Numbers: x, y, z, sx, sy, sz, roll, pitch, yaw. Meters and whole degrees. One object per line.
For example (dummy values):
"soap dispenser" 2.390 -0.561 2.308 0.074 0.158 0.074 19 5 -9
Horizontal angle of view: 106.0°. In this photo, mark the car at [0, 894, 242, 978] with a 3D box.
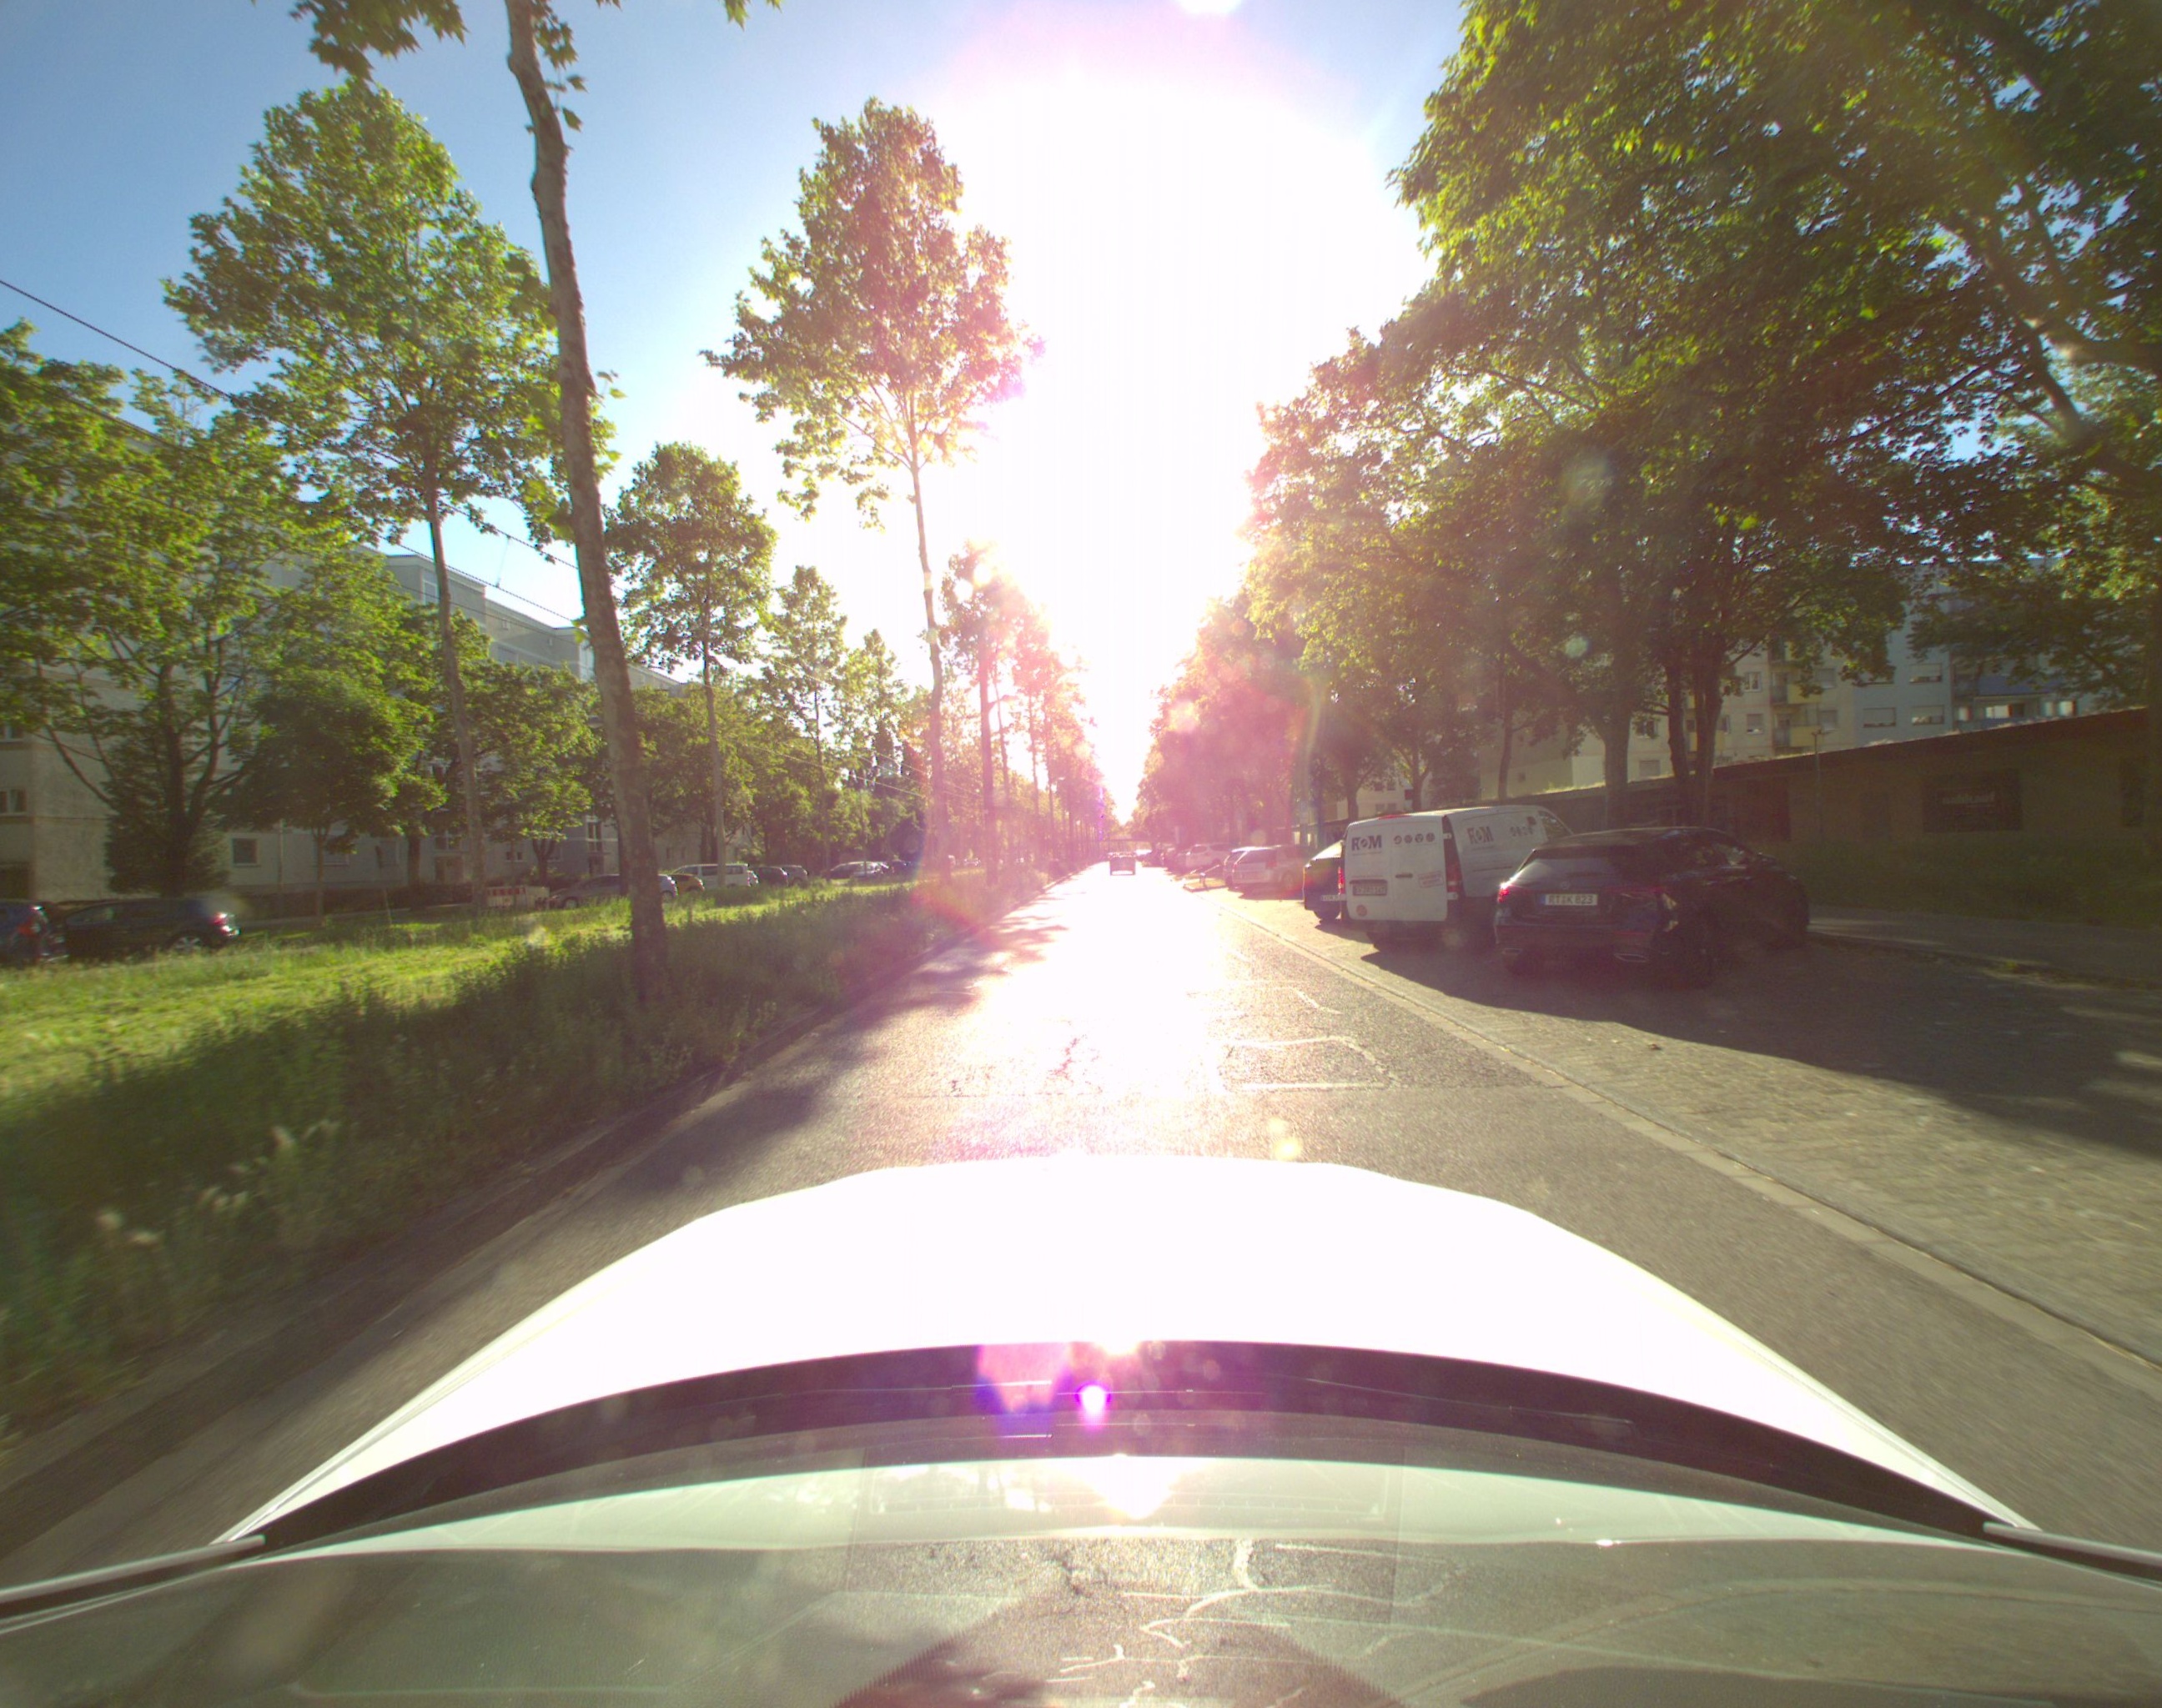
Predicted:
"car" -23.456 1.928 19.841 1.631 1.475 4.109 3 5 45

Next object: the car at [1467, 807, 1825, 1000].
"car" 6.104 0.378 8.665 4.016 1.429 1.780 -5 1 -35

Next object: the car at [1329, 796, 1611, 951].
"car" 5.940 0.175 12.174 4.694 1.853 1.810 -4 0 -38

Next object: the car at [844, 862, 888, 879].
"car" -22.137 1.706 83.992 3.942 1.487 1.774 -3 0 -41

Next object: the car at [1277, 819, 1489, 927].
"car" 6.007 0.295 15.917 4.526 1.705 1.740 -4 0 -39

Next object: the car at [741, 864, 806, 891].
"car" -21.710 1.621 57.724 4.080 1.607 1.985 -3 1 -16

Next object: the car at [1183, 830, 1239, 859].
"car" 9.566 -0.720 59.772 4.105 1.810 1.632 -4 0 -38

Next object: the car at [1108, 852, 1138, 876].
"car" 2.787 0.639 54.608 1.915 1.411 4.002 -2 0 2

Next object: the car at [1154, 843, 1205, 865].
"car" 8.394 0.001 69.493 4.101 1.582 1.763 -4 0 -33

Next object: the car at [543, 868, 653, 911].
"car" -22.201 1.616 37.495 4.106 1.646 1.632 -3 -1 -40

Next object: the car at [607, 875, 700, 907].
"car" -22.901 1.954 43.678 4.107 1.432 1.560 -3 0 -41

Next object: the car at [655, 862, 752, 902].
"car" -22.108 1.601 47.788 4.820 2.006 1.871 -3 1 -36

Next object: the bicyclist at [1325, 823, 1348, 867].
"bicyclist" 10.392 -0.383 33.105 0.620 1.740 1.025 -3 1 6

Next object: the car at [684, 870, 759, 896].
"car" -22.279 1.782 50.540 4.099 1.432 1.563 -1 0 -32

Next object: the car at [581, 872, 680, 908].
"car" -22.669 1.781 41.068 4.106 1.483 1.632 -3 0 -40

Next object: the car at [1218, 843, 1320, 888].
"car" 6.901 0.398 29.699 3.961 1.373 1.568 -4 0 -41

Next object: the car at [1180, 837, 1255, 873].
"car" 7.540 0.025 44.771 4.049 1.705 1.740 -4 0 -39

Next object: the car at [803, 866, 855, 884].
"car" -22.626 1.839 73.191 4.154 1.337 1.774 -3 1 -41

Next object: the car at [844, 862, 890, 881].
"car" -21.309 1.741 81.147 4.000 1.675 1.766 -3 0 -41

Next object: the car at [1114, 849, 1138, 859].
"car" 8.942 -0.058 161.623 4.649 1.768 1.835 -2 0 -40

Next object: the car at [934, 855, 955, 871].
"car" -18.430 1.239 110.339 1.638 2.093 4.920 0 0 4

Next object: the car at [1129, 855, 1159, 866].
"car" 9.506 1.014 122.479 4.651 1.459 1.955 -3 0 -44

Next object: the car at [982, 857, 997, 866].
"car" -16.780 1.437 149.082 1.985 1.590 4.172 0 0 4

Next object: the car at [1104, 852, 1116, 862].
"car" 4.998 0.515 138.943 1.842 1.535 3.869 -3 0 3

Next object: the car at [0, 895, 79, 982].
"car" -23.498 1.841 16.290 4.109 1.645 1.631 -4 3 -44

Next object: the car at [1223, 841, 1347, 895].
"car" 6.608 0.416 26.137 4.208 1.412 1.700 -4 0 -41

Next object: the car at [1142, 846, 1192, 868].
"car" 7.612 0.261 71.872 4.341 1.717 1.617 -3 0 -37

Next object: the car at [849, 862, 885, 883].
"car" -16.825 1.423 64.181 1.640 1.485 3.851 -3 -1 2

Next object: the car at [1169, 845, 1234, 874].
"car" 7.118 0.314 47.835 3.808 1.470 1.631 -4 0 -41

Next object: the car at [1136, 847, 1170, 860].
"car" 9.157 -0.091 103.414 4.353 1.424 1.834 -4 0 -42

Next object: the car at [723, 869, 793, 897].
"car" -21.711 1.919 54.753 4.100 1.530 1.800 -3 2 -32

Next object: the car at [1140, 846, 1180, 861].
"car" 8.993 -0.054 92.732 4.519 1.443 1.834 -4 0 -42
